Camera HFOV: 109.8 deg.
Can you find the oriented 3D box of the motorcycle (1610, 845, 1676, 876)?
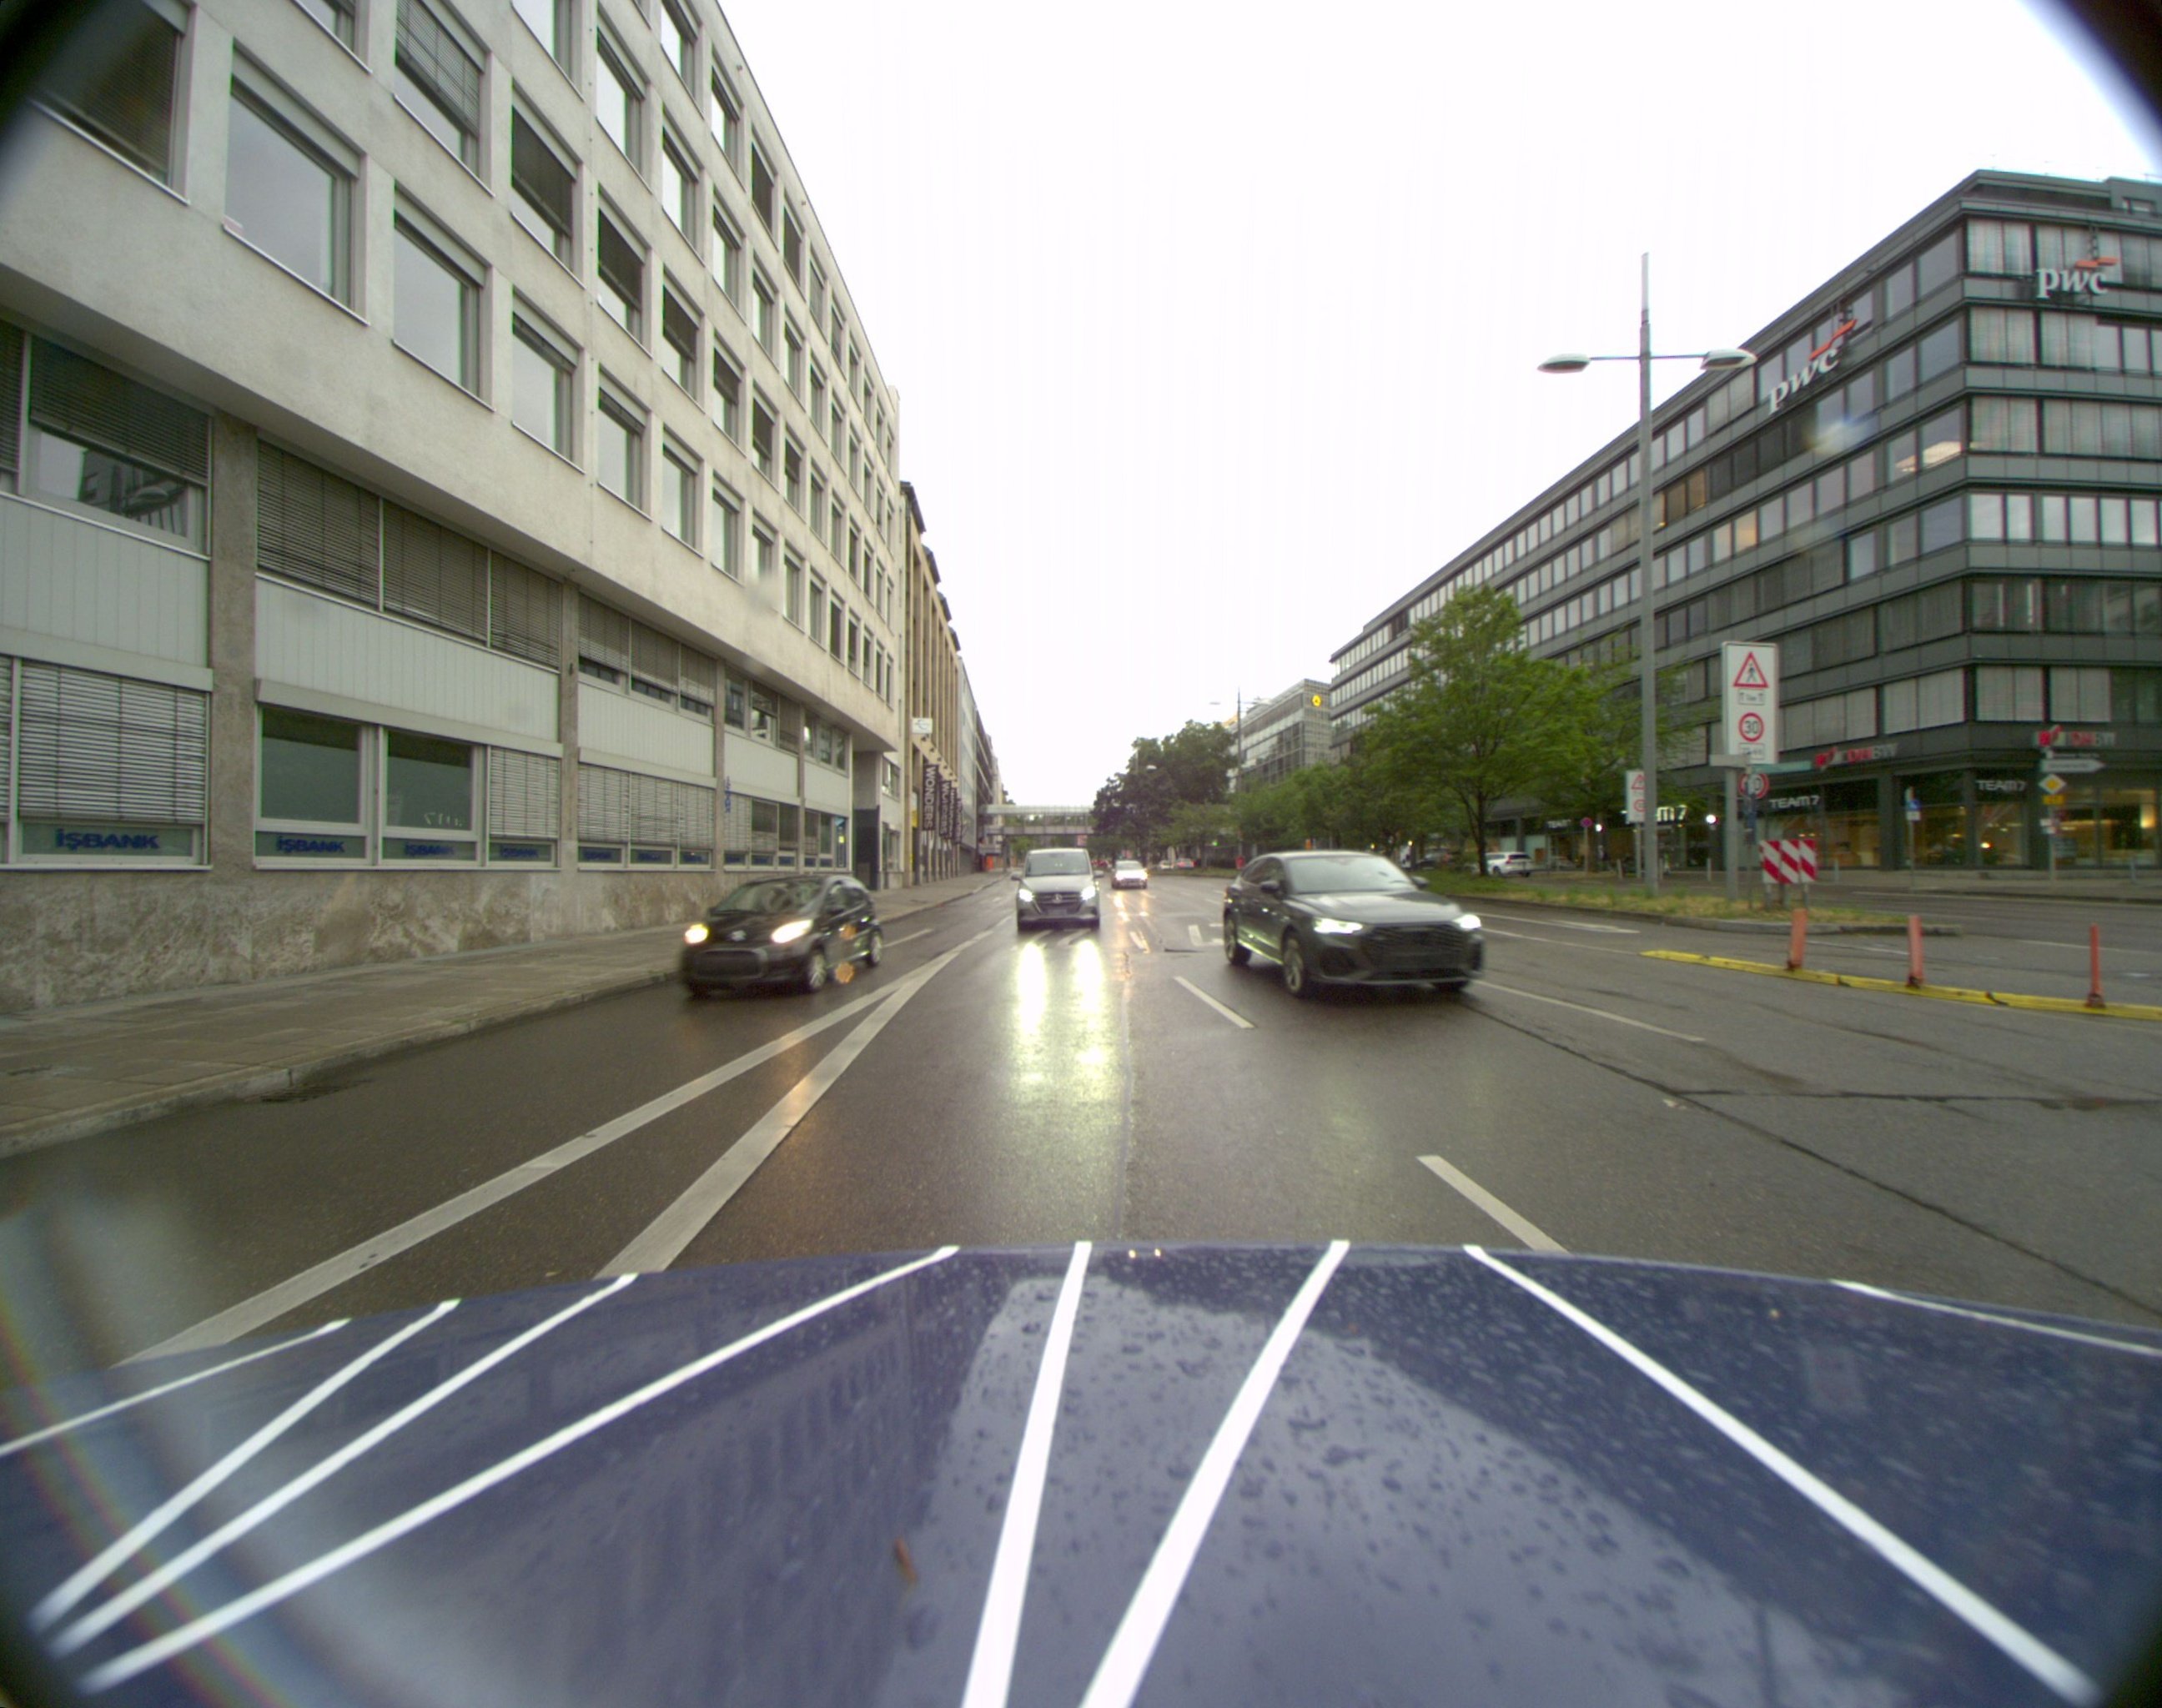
[{"bbox_3d":[27.019,0.333,36.590,0.861,1.386,2.364,-5,2,-30],"label":"motorcycle"}]

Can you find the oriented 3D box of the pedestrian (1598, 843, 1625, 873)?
[{"bbox_3d":[29.857,0.232,42.753,0.786,1.628,0.965,-1,0,-4],"label":"pedestrian"}]

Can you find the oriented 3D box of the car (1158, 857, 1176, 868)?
[{"bbox_3d":[11.921,1.215,105.241,1.687,1.423,4.081,-1,0,-5],"label":"car"}]

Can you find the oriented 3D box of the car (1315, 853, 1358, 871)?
[{"bbox_3d":[22.386,0.684,66.758,1.814,1.436,4.307,-2,0,-7],"label":"car"}]

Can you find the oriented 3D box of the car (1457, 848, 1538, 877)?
[{"bbox_3d":[24.074,0.483,44.140,1.814,1.476,4.771,-4,0,-3],"label":"car"}]

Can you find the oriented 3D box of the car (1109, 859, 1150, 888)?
[{"bbox_3d":[2.541,1.020,40.851,1.853,1.434,3.869,-1,0,-1],"label":"car"}]

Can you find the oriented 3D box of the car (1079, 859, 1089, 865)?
[{"bbox_3d":[0.760,1.832,181.710,1.733,1.303,4.075,-2,0,-7],"label":"car"}]

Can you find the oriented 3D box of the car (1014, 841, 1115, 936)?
[{"bbox_3d":[-0.503,0.763,19.153,2.163,2.014,5.040,-1,0,-4],"label":"car"}]

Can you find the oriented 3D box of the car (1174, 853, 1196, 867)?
[{"bbox_3d":[13.128,0.778,96.275,1.742,1.718,4.491,-2,0,-6],"label":"car"}]

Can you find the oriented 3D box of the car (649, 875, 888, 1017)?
[{"bbox_3d":[-3.930,1.080,10.219,1.666,1.464,3.484,-1,0,1],"label":"car"}]

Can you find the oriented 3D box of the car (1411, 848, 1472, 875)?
[{"bbox_3d":[23.746,0.480,50.274,1.813,1.651,4.309,-2,0,-2],"label":"car"}]

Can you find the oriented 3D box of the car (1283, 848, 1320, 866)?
[{"bbox_3d":[19.077,0.256,65.875,1.998,1.535,4.483,-1,0,1],"label":"car"}]

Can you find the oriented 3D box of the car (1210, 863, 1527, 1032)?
[{"bbox_3d":[2.941,0.859,8.927,1.941,1.426,4.287,-1,0,-2],"label":"car"}]
